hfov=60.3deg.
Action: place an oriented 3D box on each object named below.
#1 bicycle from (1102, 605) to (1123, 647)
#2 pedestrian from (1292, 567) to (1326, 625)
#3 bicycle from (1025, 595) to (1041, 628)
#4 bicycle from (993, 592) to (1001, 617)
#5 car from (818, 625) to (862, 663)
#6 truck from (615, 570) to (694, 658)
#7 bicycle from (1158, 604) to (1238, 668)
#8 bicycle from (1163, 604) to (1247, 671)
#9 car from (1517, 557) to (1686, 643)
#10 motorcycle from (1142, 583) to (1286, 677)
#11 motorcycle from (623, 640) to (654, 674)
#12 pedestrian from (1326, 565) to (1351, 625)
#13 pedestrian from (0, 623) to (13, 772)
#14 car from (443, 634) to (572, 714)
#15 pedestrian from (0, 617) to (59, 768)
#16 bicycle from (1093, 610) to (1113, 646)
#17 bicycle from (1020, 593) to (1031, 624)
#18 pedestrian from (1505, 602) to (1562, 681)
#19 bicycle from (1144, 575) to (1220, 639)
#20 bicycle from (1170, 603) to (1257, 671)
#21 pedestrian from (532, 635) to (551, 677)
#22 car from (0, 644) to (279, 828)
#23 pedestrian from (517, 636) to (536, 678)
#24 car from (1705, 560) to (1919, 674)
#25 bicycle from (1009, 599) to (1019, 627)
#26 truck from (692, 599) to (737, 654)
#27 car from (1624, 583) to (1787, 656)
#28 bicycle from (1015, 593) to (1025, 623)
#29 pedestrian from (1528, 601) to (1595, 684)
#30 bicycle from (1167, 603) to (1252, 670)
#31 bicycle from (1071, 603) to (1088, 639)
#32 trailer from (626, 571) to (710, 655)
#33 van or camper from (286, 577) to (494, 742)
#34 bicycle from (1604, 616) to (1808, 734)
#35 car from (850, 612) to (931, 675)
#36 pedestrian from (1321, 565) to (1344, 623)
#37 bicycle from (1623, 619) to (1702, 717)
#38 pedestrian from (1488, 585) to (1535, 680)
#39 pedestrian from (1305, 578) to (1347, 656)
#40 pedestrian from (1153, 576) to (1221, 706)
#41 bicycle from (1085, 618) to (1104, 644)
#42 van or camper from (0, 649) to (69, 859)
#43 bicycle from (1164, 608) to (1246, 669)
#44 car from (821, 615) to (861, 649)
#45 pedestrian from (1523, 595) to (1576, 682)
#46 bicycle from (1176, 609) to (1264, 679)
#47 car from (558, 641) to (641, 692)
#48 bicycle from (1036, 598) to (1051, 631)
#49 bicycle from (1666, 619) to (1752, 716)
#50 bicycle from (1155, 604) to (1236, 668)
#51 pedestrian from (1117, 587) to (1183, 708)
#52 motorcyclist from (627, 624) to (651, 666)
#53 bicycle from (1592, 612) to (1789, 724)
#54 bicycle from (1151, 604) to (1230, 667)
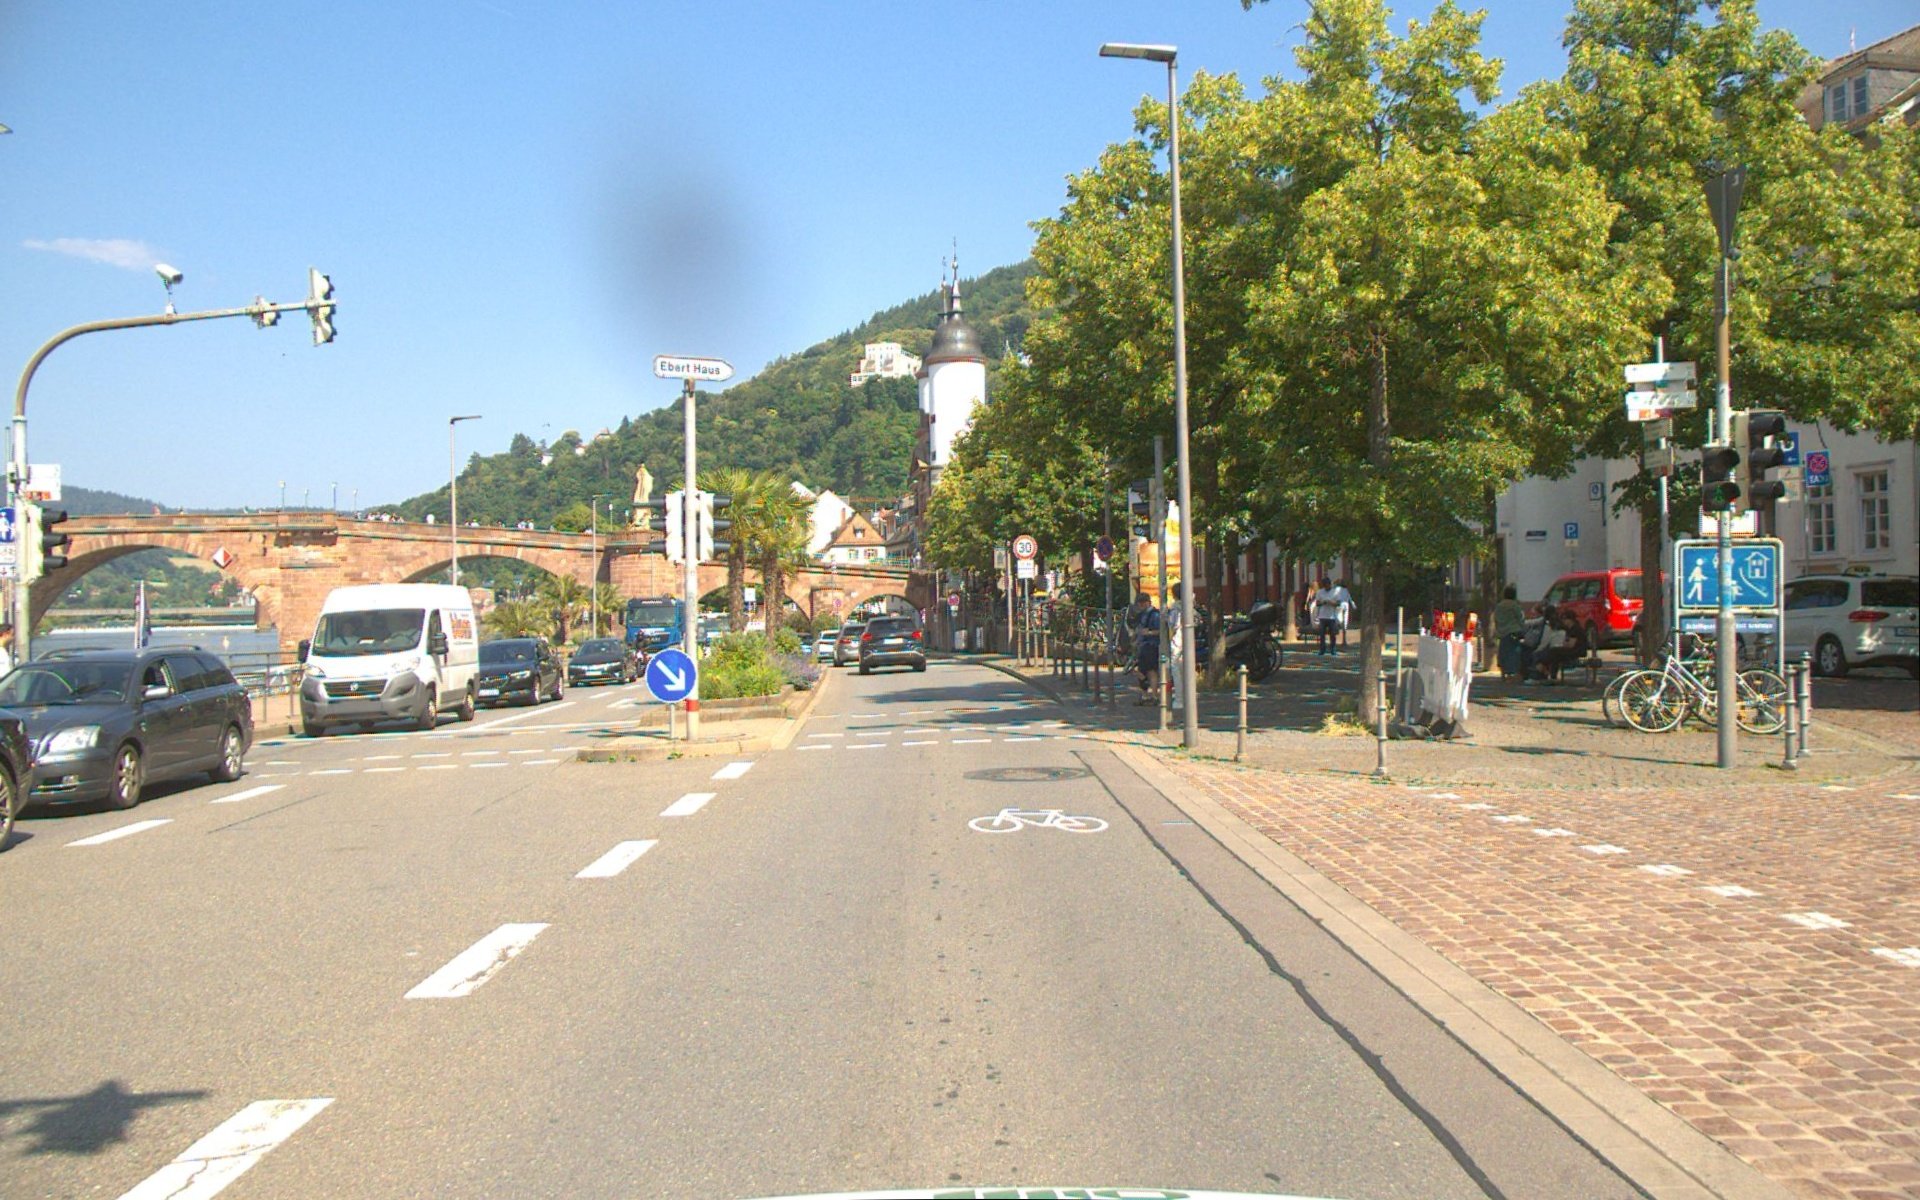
[{"bbox_3d":[3.826,0.640,41.489,0.245,1.028,1.487,-2,0,-5],"label":"bicycle"},{"bbox_3d":[11.860,-0.137,56.245,0.949,1.948,0.747,-1,-1,-3],"label":"pedestrian"},{"bbox_3d":[2.592,0.415,58.807,0.270,1.114,1.487,-6,0,-4],"label":"bicycle"},{"bbox_3d":[1.640,0.195,73.812,0.348,1.115,1.489,0,-1,2],"label":"bicycle"},{"bbox_3d":[-5.618,2.032,77.811,1.954,1.580,4.828,-1,0,-3],"label":"car"},{"bbox_3d":[-12.680,0.579,69.013,2.605,3.463,4.446,-1,0,-3],"label":"truck"},{"bbox_3d":[4.533,0.679,31.453,1.456,1.139,0.250,-3,0,-9],"label":"bicycle"},{"bbox_3d":[4.498,0.687,30.353,1.456,1.139,0.293,-3,0,-9],"label":"bicycle"},{"bbox_3d":[15.577,-0.018,40.437,1.955,1.935,4.628,-1,0,-6],"label":"car"},{"bbox_3d":[4.252,0.518,27.811,2.254,1.491,0.761,-3,-1,38],"label":"motorcycle"},{"bbox_3d":[-11.879,2.093,61.230,0.742,1.151,2.454,-1,0,-3],"label":"motorcycle"},{"bbox_3d":[12.920,-0.170,56.473,0.622,2.049,0.643,-2,0,-4],"label":"pedestrian"},{"bbox_3d":[-11.858,1.163,19.692,0.681,1.811,0.762,4,-1,-11],"label":"pedestrian"},{"bbox_3d":[-10.127,1.605,37.385,1.783,1.481,4.924,-4,0,-4],"label":"car"},{"bbox_3d":[-11.892,1.146,20.771,0.681,1.811,0.762,4,-1,-11],"label":"pedestrian"},{"bbox_3d":[3.713,0.727,43.071,0.245,0.920,1.487,-2,0,-5],"label":"bicycle"},{"bbox_3d":[2.407,0.318,61.204,0.245,1.115,1.487,0,-1,-4],"label":"bicycle"},{"bbox_3d":[9.612,0.683,27.742,0.614,1.304,0.752,1,-1,-11],"label":"pedestrian"},{"bbox_3d":[5.480,0.181,40.836,1.794,1.509,0.285,-2,-1,-6],"label":"bicycle"},{"bbox_3d":[4.526,0.654,29.559,1.456,1.139,0.377,-3,0,-9],"label":"bicycle"},{"bbox_3d":[-18.513,2.471,73.097,0.748,1.811,0.694,-1,0,-11],"label":"pedestrian"},{"bbox_3d":[-8.680,1.284,16.667,1.914,1.433,4.566,-4,0,-4],"label":"car"},{"bbox_3d":[-19.110,2.520,72.977,0.748,1.811,0.694,-1,0,-11],"label":"pedestrian"},{"bbox_3d":[14.570,0.250,27.866,1.734,1.759,4.564,0,0,-4],"label":"car"},{"bbox_3d":[2.131,0.506,65.206,0.245,1.115,1.487,0,-1,-4],"label":"bicycle"},{"bbox_3d":[-16.017,1.721,108.228,2.607,3.463,5.128,-1,0,-6],"label":"truck"},{"bbox_3d":[15.948,0.413,35.554,1.642,1.457,3.467,-1,0,-6],"label":"car"},{"bbox_3d":[2.283,0.313,63.126,0.245,1.115,1.487,0,-1,-4],"label":"bicycle"},{"bbox_3d":[9.563,0.669,26.303,0.681,1.274,0.762,-2,0,-11],"label":"pedestrian"},{"bbox_3d":[4.538,0.658,30.058,1.456,1.139,0.293,-3,0,-9],"label":"bicycle"},{"bbox_3d":[3.432,0.602,47.660,0.245,1.018,1.487,0,-1,-5],"label":"bicycle"},{"bbox_3d":[-12.977,0.576,74.098,2.605,3.463,8.820,-1,0,-3],"label":"trailer"},{"bbox_3d":[-9.740,0.979,28.784,1.954,2.492,5.489,-3,-1,-4],"label":"van or camper"},{"bbox_3d":[8.161,0.810,18.149,1.956,1.219,0.522,1,0,8],"label":"bicycle"},{"bbox_3d":[-1.972,1.151,45.646,1.889,1.580,4.825,-1,0,-6],"label":"car"},{"bbox_3d":[13.253,-0.209,58.840,0.574,2.049,0.596,-2,0,-4],"label":"pedestrian"},{"bbox_3d":[8.488,0.795,20.042,0.581,1.086,2.067,-2,0,15],"label":"bicycle"},{"bbox_3d":[9.114,0.534,27.344,0.451,1.544,0.688,0,0,-11],"label":"pedestrian"},{"bbox_3d":[8.051,0.375,36.370,0.693,1.682,0.706,-2,0,-4],"label":"pedestrian"},{"bbox_3d":[3.255,0.582,23.781,0.681,1.802,0.762,-3,0,-11],"label":"pedestrian"},{"bbox_3d":[3.615,0.829,44.620,0.245,0.675,1.467,-2,0,-5],"label":"bicycle"},{"bbox_3d":[-7.844,1.156,10.411,1.954,1.502,5.061,-3,0,-4],"label":"van or camper"},{"bbox_3d":[4.583,0.715,30.944,1.456,1.050,0.293,-3,0,-9],"label":"bicycle"},{"bbox_3d":[-6.194,1.652,86.404,1.954,1.580,4.828,-2,0,-3],"label":"car"},{"bbox_3d":[9.650,0.623,27.085,0.614,1.406,0.540,1,-1,-11],"label":"pedestrian"},{"bbox_3d":[4.584,0.771,29.178,1.455,1.139,0.294,-3,0,-6],"label":"bicycle"},{"bbox_3d":[-11.406,2.081,52.534,1.914,1.437,4.214,-4,-1,-4],"label":"car"},{"bbox_3d":[2.775,0.482,55.242,0.339,1.115,1.487,0,-1,-4],"label":"bicycle"},{"bbox_3d":[8.955,0.782,19.826,0.581,1.086,2.067,-2,-1,15],"label":"bicycle"},{"bbox_3d":[4.441,0.672,31.175,1.456,1.139,0.250,-3,0,-9],"label":"bicycle"},{"bbox_3d":[2.776,0.688,24.262,0.681,1.706,0.762,-3,0,-11],"label":"pedestrian"},{"bbox_3d":[-11.877,1.667,61.202,0.721,1.496,1.010,-1,0,-4],"label":"motorcyclist"},{"bbox_3d":[8.218,0.756,18.655,1.969,1.219,0.522,0,0,8],"label":"bicycle"},{"bbox_3d":[4.451,0.677,31.964,1.456,1.139,0.250,-3,0,-9],"label":"bicycle"}]
